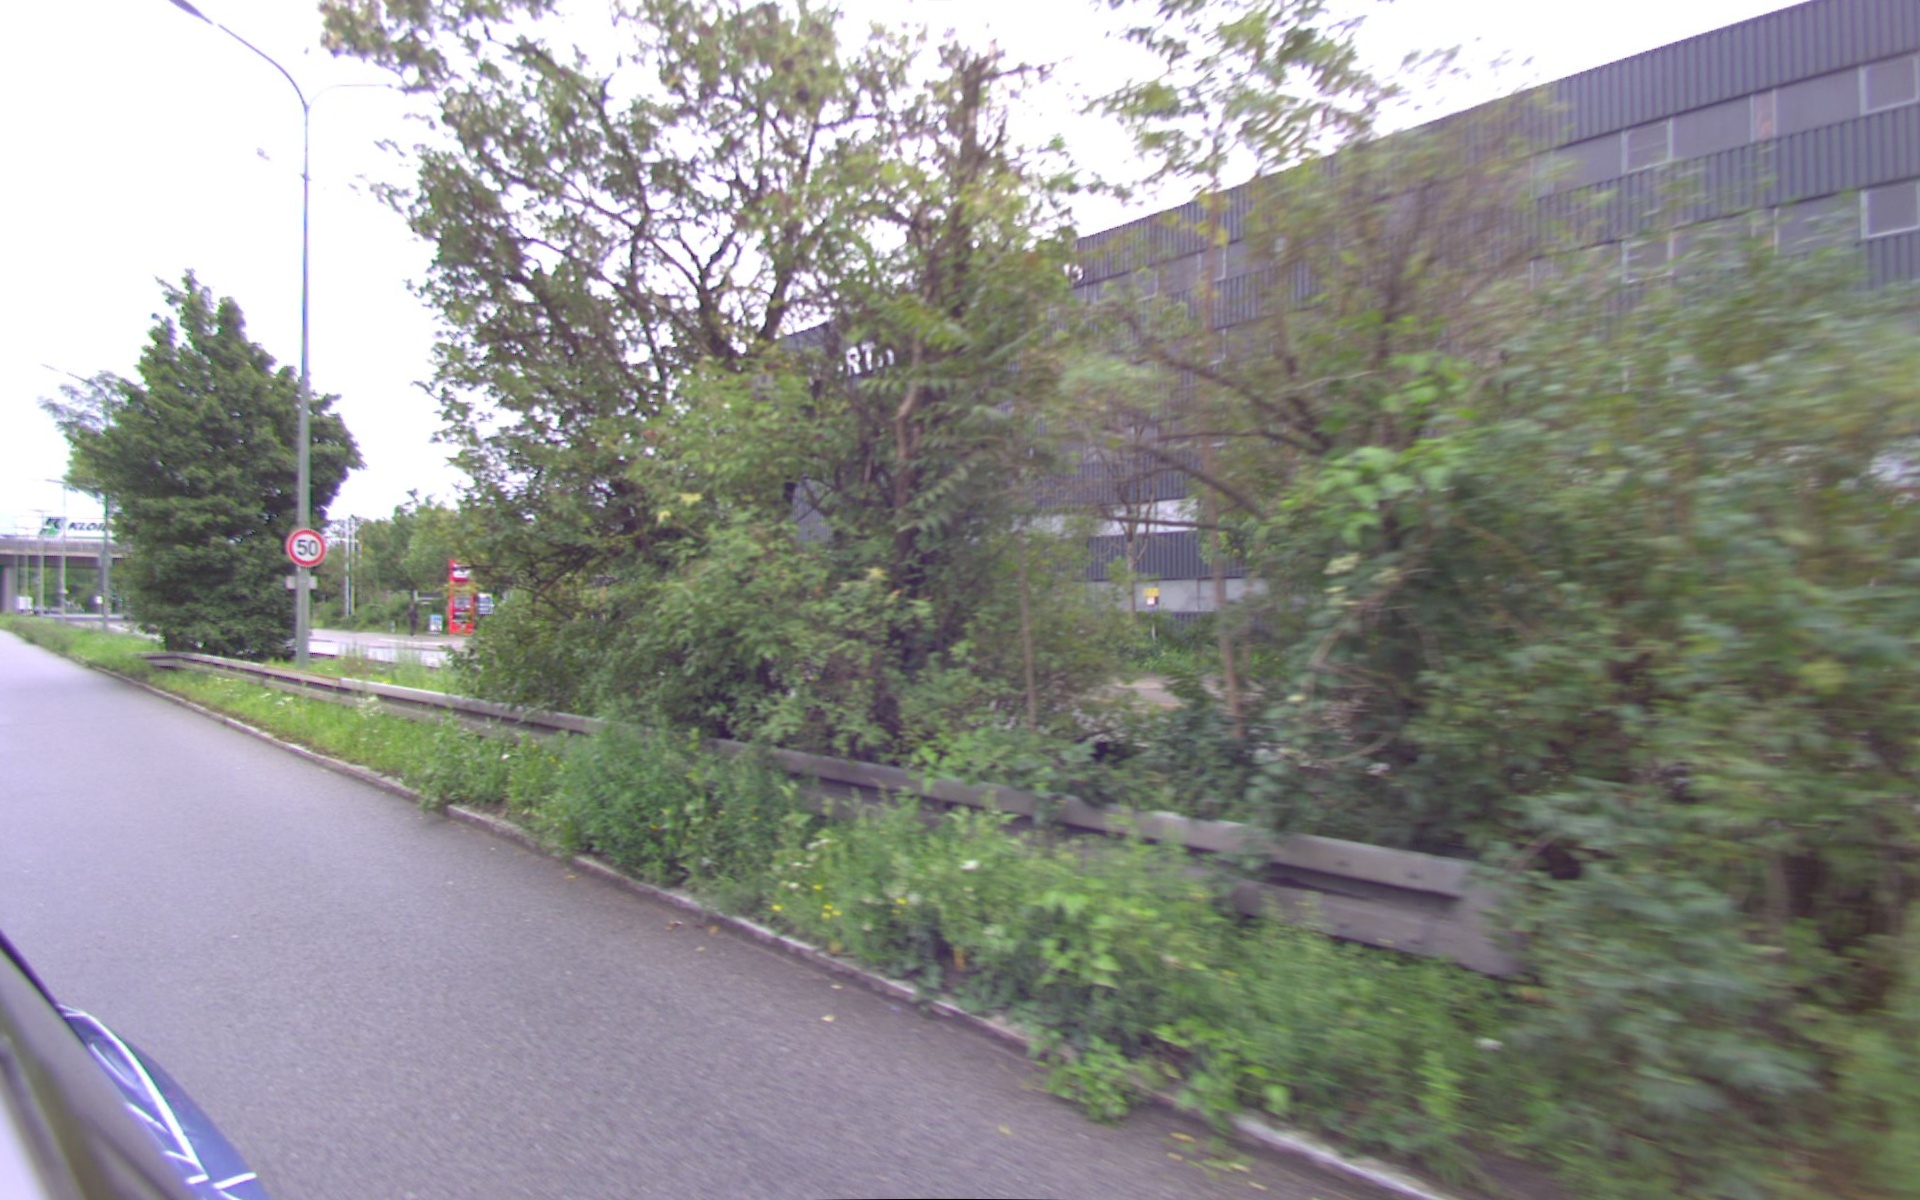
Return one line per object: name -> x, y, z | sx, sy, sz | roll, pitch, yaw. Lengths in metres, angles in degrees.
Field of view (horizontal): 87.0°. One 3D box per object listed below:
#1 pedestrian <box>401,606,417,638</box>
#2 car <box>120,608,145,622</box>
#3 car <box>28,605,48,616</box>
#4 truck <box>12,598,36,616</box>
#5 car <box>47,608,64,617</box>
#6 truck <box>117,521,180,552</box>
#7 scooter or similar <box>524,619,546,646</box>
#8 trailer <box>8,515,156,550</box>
pedestrian -> -31.516, 1.265, 57.861 | 0.615, 1.844, 0.818 | 1, -2, -45
car -> -102.733, 1.860, 125.589 | 1.971, 1.584, 4.577 | 2, -1, -45
car -> -150.542, 1.726, 165.304 | 4.591, 1.595, 1.947 | 1, -3, 43
truck -> -163.717, 1.291, 177.000 | 7.230, 3.000, 2.229 | 0, -3, 41
car -> -171.318, 2.379, 191.647 | 4.819, 1.407, 1.947 | 1, -1, 44
truck -> -95.913, -7.515, 119.627 | 5.113, 3.270, 2.601 | 2, 0, -7
scooter or similar -> -19.999, 1.511, 47.579 | 1.387, 1.236, 0.440 | -1, -1, 43
trailer -> -102.819, -7.853, 118.723 | 13.839, 3.323, 2.671 | 2, 0, -7
